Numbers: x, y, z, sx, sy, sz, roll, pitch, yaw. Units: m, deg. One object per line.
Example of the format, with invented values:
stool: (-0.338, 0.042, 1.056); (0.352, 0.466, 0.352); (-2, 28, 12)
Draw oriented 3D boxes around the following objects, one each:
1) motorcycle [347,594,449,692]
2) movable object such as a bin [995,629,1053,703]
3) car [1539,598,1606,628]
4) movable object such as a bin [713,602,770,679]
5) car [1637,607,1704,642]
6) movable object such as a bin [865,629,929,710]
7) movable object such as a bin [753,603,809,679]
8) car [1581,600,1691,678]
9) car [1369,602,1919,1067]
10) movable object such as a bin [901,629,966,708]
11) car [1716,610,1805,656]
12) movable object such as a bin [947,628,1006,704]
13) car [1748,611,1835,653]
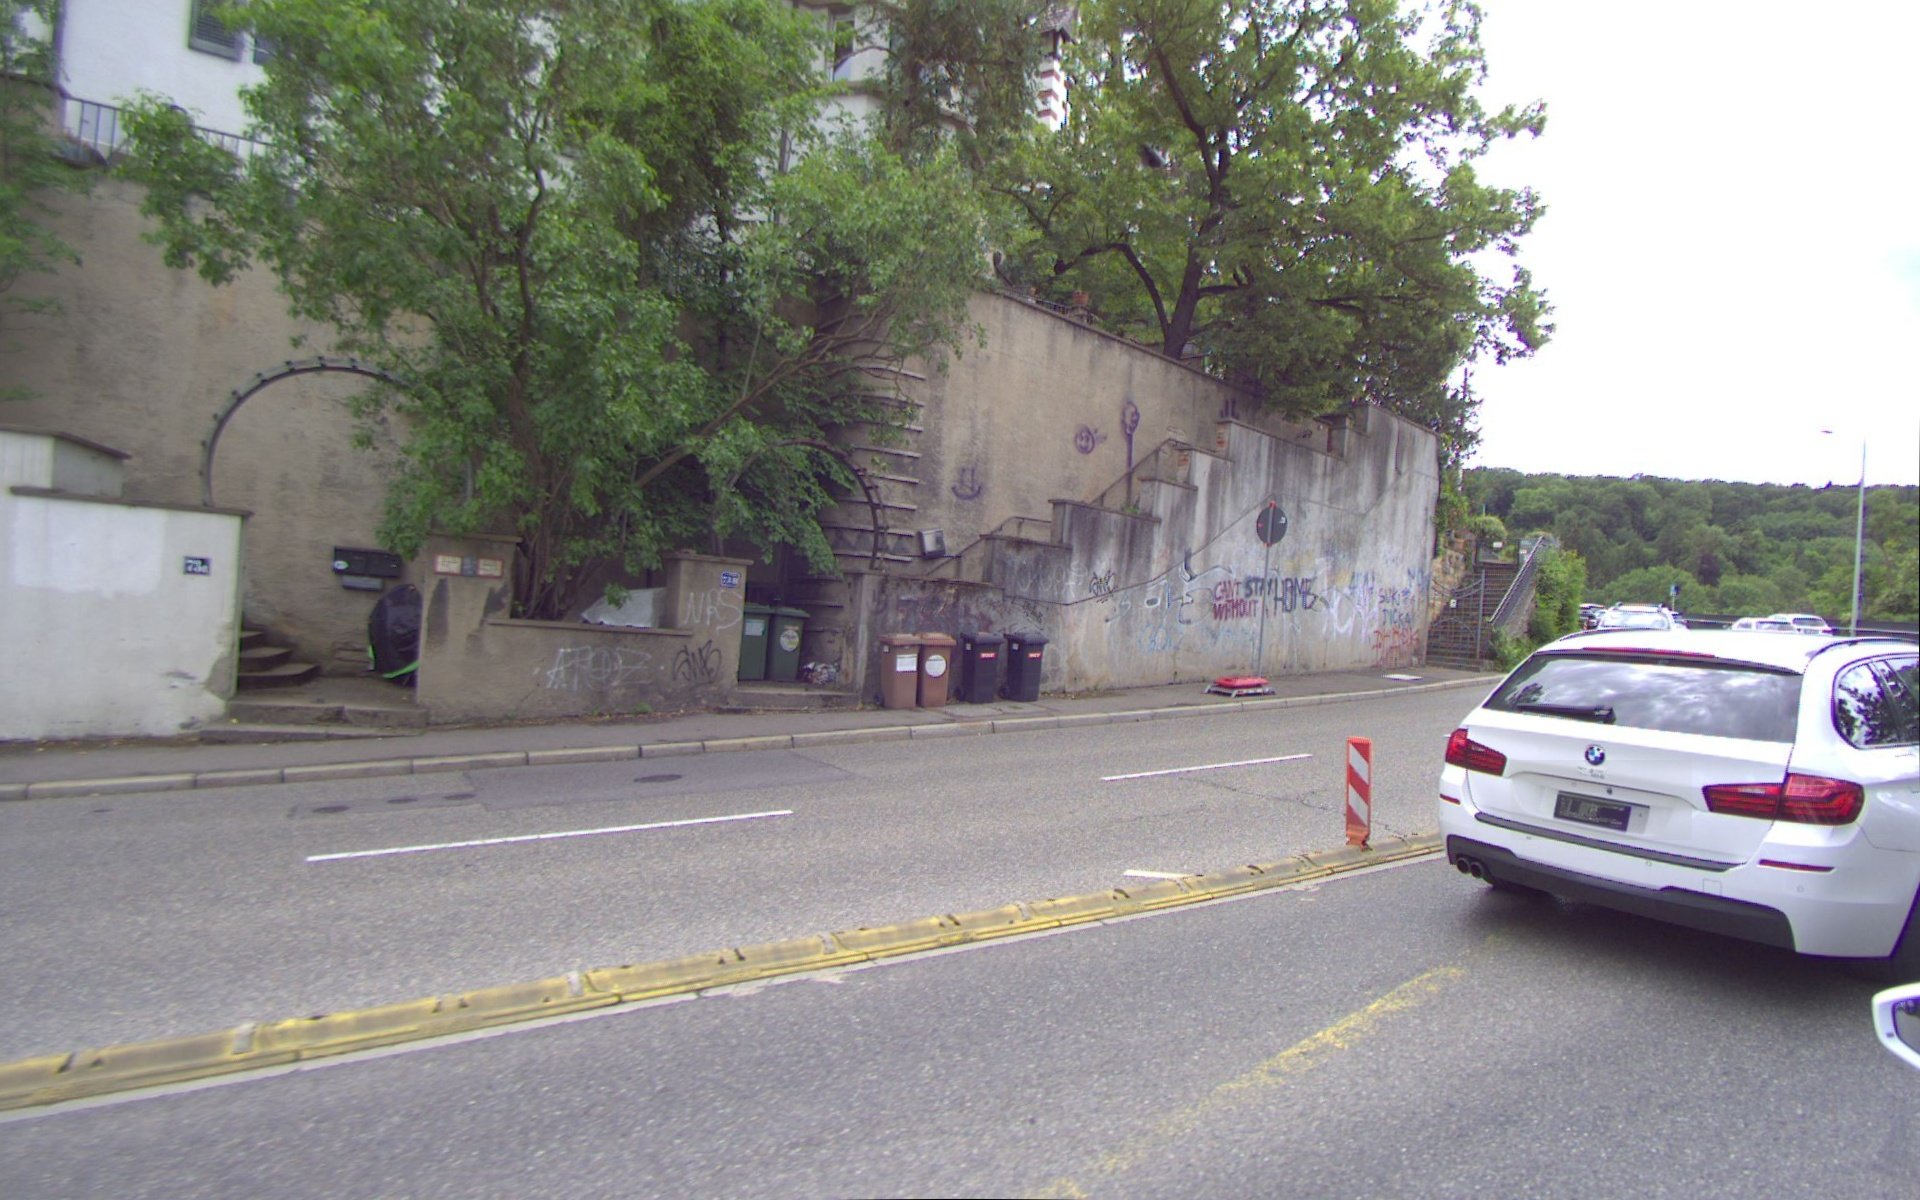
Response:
motorcycle: (-6.818, 0.496, 12.163); (1.577, 1.044, 0.527); (4, 0, 41)
movable object such as a bin: (0.881, 0.896, 13.901); (0.561, 0.962, 0.539); (1, 2, -35)
car: (38.718, 0.788, 63.622); (1.785, 1.712, 4.000); (2, 2, 1)
movable object such as a bin: (-3.088, 0.560, 14.173); (0.575, 1.038, 0.603); (1, 2, -35)
car: (36.581, 1.245, 51.832); (1.962, 1.561, 4.007); (3, 2, 23)
movable object such as a bin: (-0.809, 0.874, 12.783); (0.551, 0.962, 0.603); (1, 2, -35)
movable object such as a bin: (-2.600, 0.586, 14.555); (0.575, 1.035, 0.603); (1, 2, -35)
car: (18.100, 0.967, 26.768); (1.888, 1.853, 5.281); (1, 0, 40)
car: (4.529, 0.836, 5.515); (4.829, 1.486, 1.836); (1, 2, -35)
movable object such as a bin: (-0.350, 0.884, 13.113); (0.575, 0.962, 0.603); (1, 2, -35)
car: (32.180, 1.265, 40.517); (1.877, 1.595, 3.995); (3, 2, 26)
movable object such as a bin: (0.224, 0.877, 13.557); (0.561, 0.962, 0.539); (1, 2, -35)
car: (36.957, 1.394, 44.775); (1.962, 1.607, 3.996); (3, 2, 25)
